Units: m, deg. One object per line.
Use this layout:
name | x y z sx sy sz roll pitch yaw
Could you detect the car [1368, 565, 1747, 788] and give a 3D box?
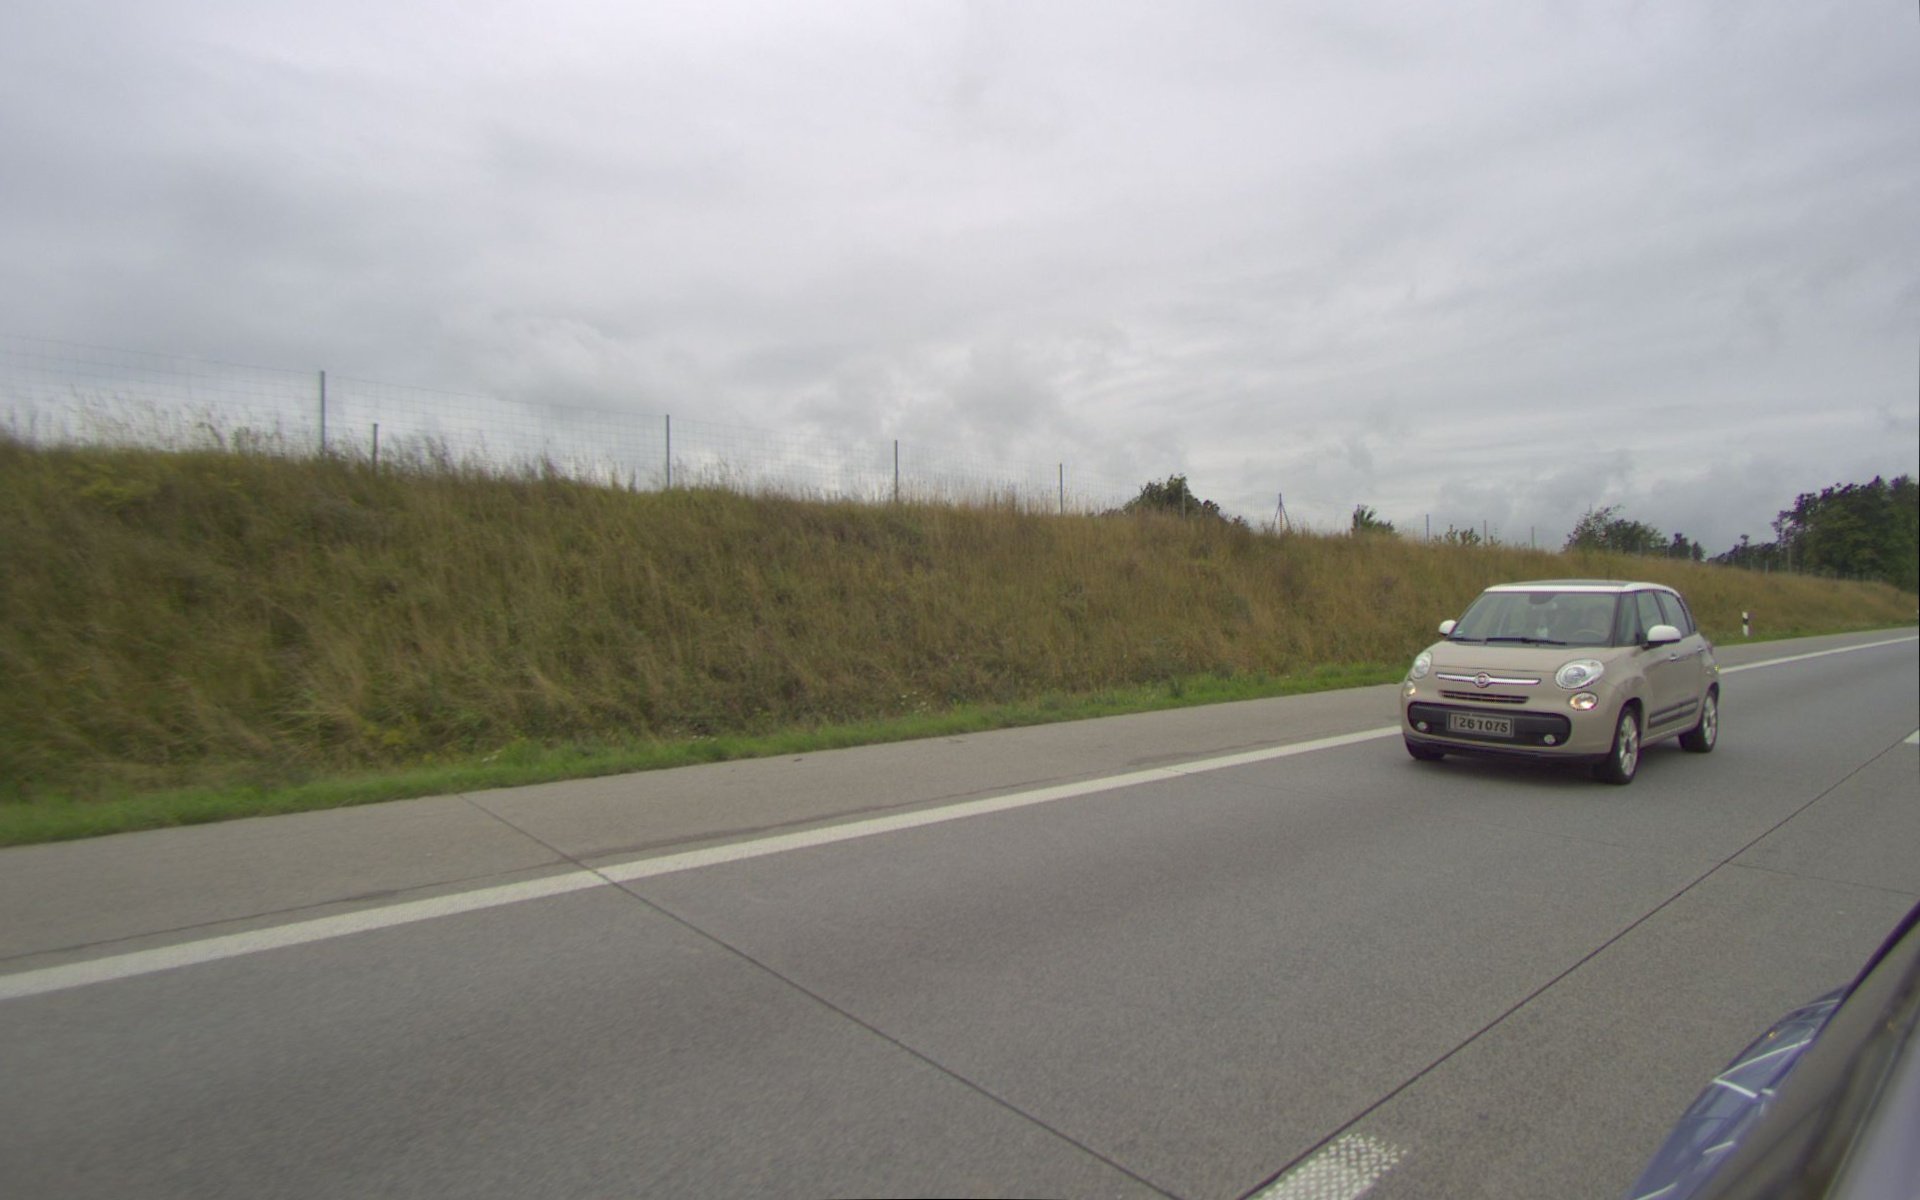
car | 5.792 0.564 9.560 4.491 1.625 1.788 0 0 -41
